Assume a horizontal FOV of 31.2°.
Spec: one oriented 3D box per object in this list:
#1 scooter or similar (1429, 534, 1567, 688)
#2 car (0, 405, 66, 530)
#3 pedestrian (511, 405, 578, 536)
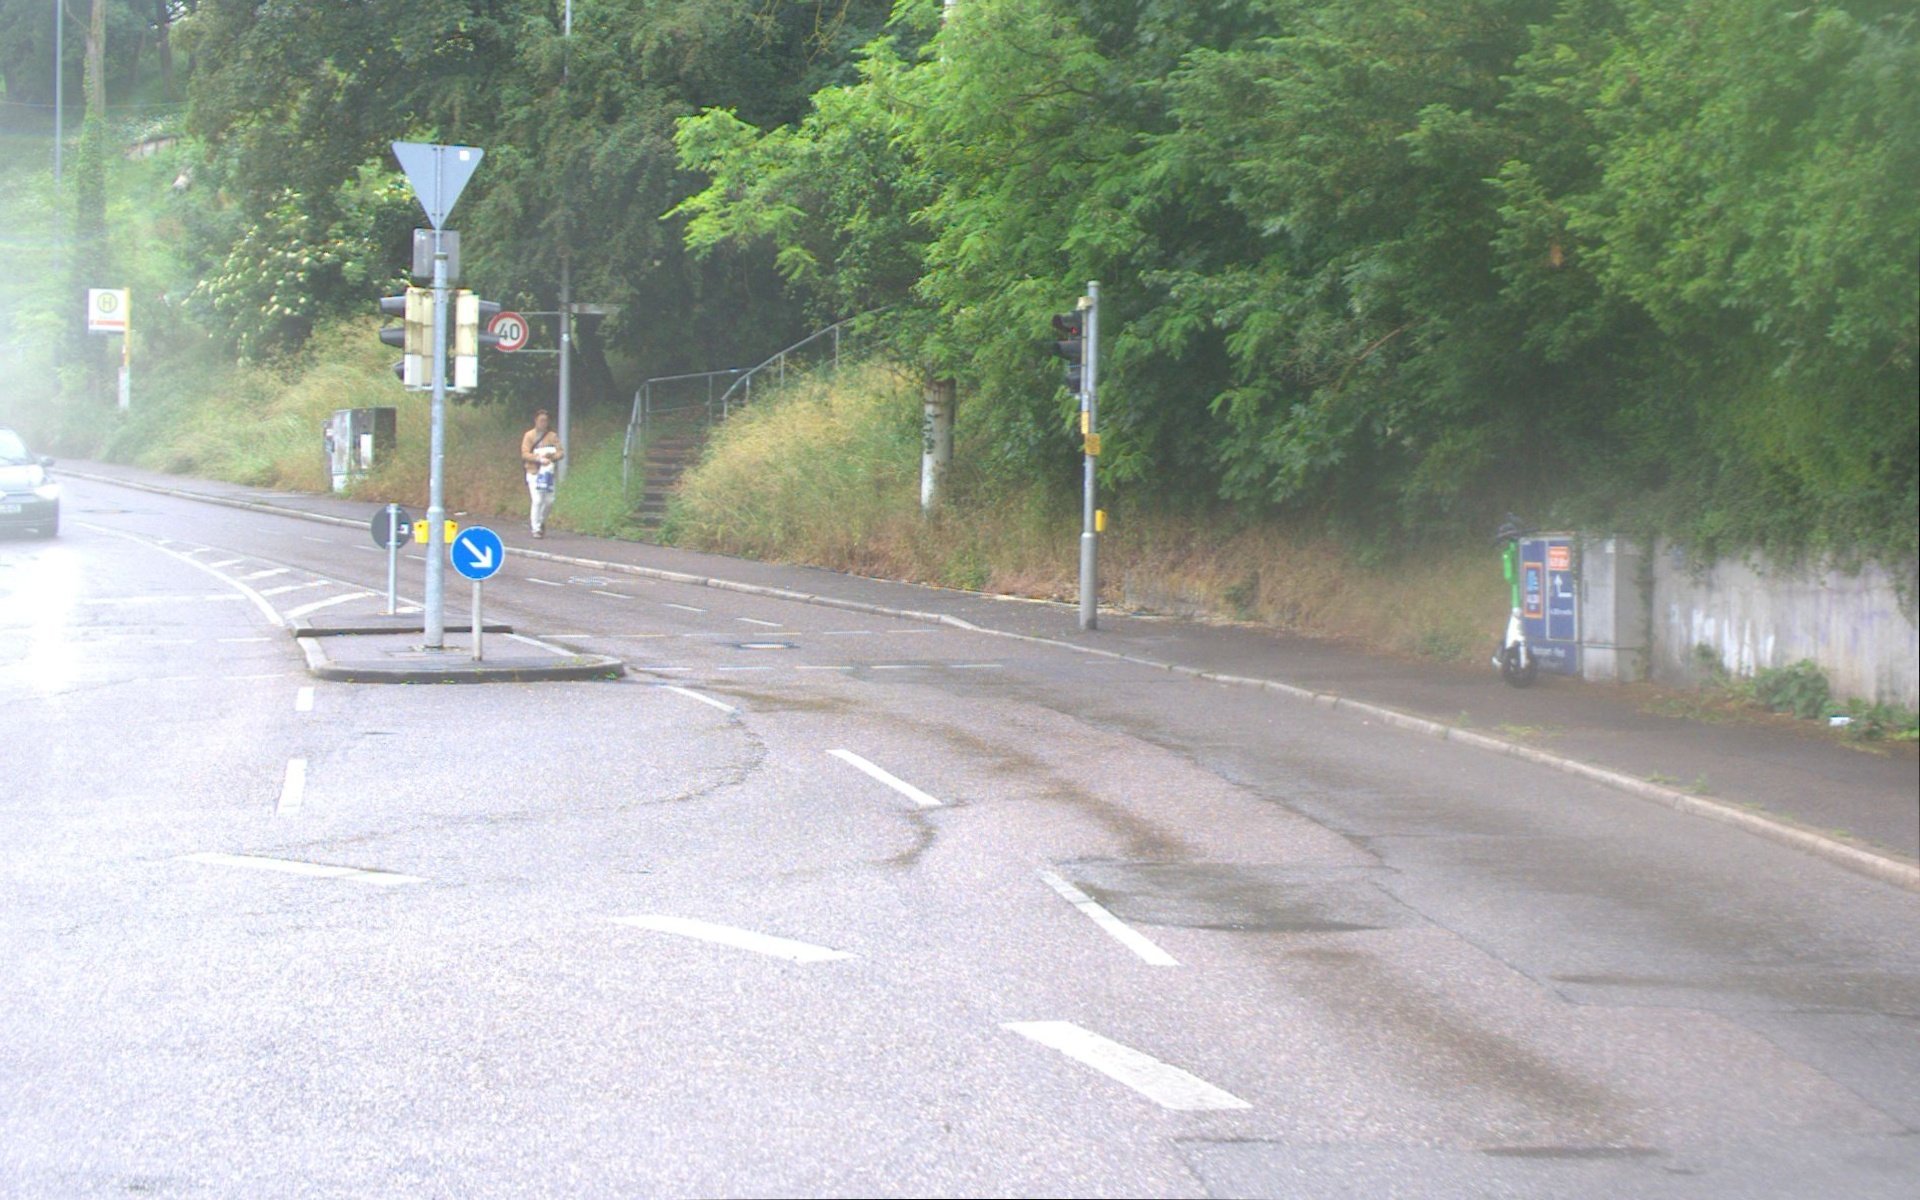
[{"bbox_3d":[4.017,0.062,25.785,0.602,1.071,1.769,1,2,-5],"label":"scooter or similar"},{"bbox_3d":[-13.677,-1.868,47.625,1.882,1.516,4.694,-2,5,-22],"label":"car"},{"bbox_3d":[-5.691,-1.771,47.019,0.647,1.746,0.799,1,4,-25],"label":"pedestrian"}]
